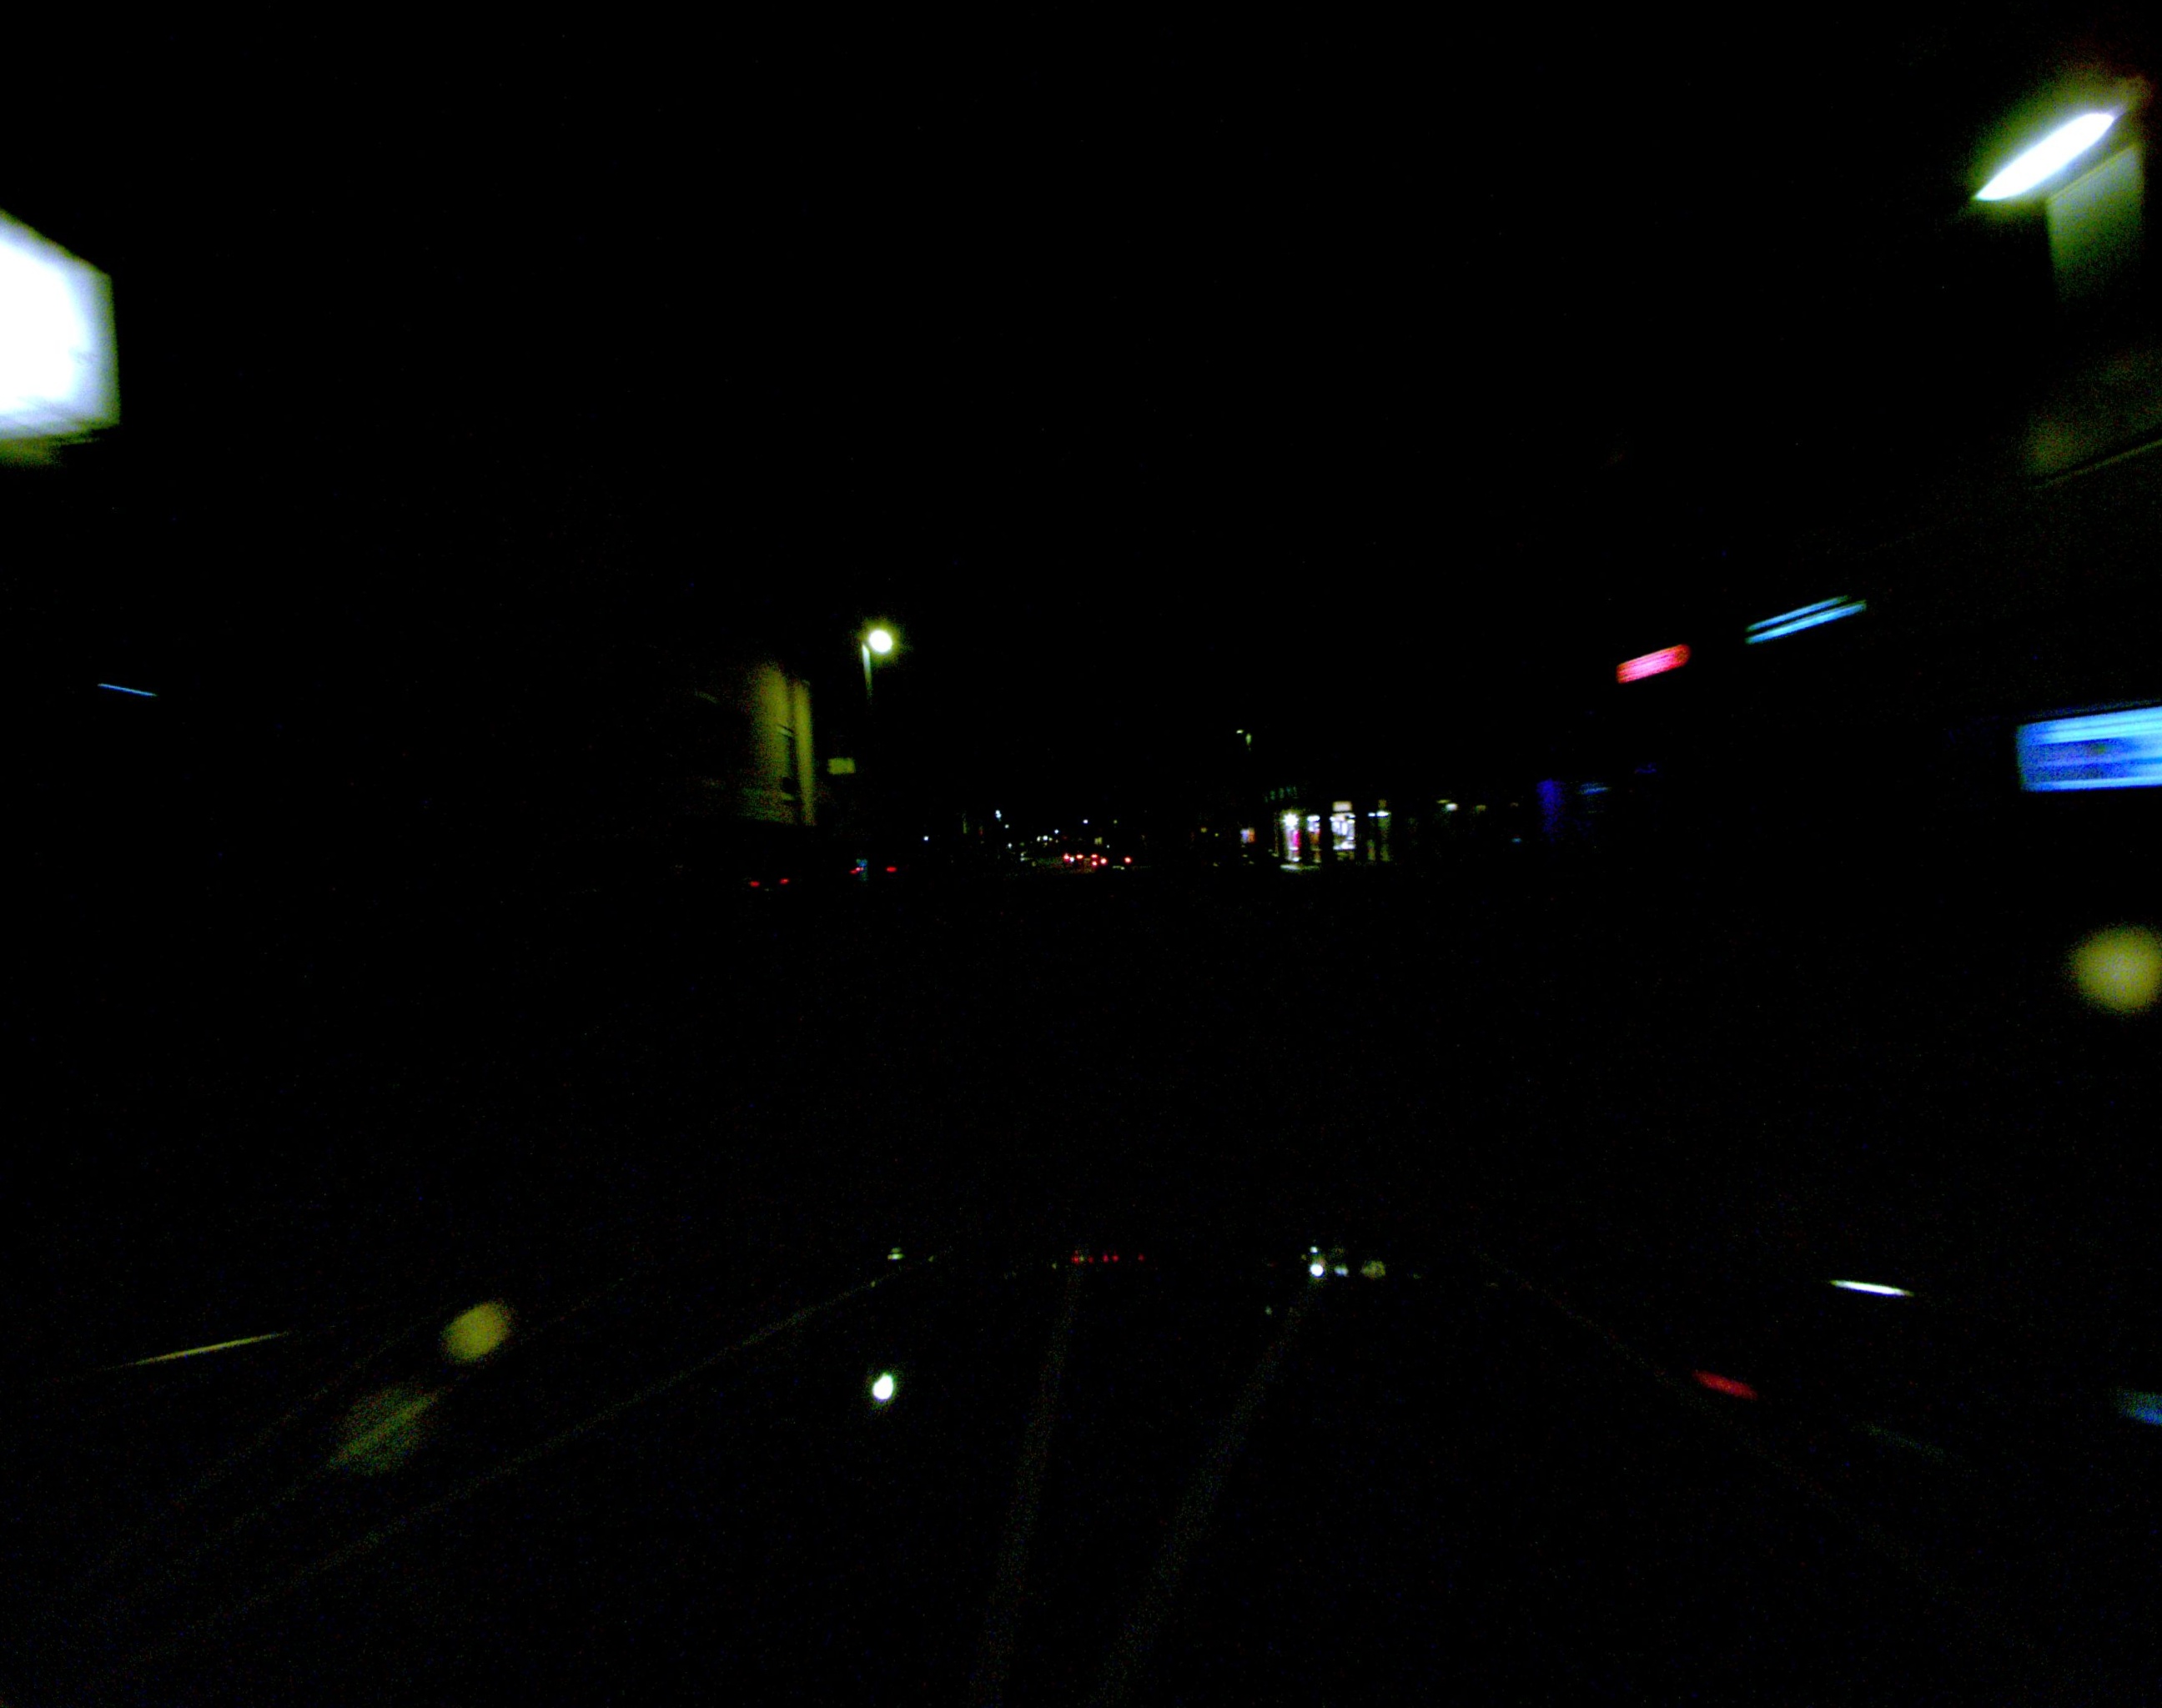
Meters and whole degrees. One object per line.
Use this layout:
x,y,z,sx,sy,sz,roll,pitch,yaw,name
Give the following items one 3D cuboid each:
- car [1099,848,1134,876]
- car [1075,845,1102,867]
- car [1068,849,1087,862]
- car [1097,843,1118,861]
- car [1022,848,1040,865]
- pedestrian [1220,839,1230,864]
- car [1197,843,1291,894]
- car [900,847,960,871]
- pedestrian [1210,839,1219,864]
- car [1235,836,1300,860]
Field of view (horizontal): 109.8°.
1.965,0.420,43.528,1.721,1.420,3.815,-3,1,-1,car
0.557,0.167,61.513,1.753,1.635,4.305,-2,1,-4,car
-0.411,0.154,78.736,1.822,1.272,3.915,-3,1,-2,car
2.781,-0.208,79.101,1.814,1.637,3.802,-4,1,-2,car
-4.806,0.209,73.334,1.607,1.474,3.697,-2,1,-4,car
9.236,-0.153,48.858,0.528,1.579,0.666,-3,1,9,pedestrian
5.274,0.407,25.269,1.901,1.411,4.929,-4,1,-1,car
-10.565,0.330,53.457,3.917,1.578,1.644,2,0,-5,car
8.640,-0.143,49.176,0.528,1.579,0.666,-3,1,10,pedestrian
12.214,-0.384,49.967,3.833,1.408,1.652,-2,1,0,car
